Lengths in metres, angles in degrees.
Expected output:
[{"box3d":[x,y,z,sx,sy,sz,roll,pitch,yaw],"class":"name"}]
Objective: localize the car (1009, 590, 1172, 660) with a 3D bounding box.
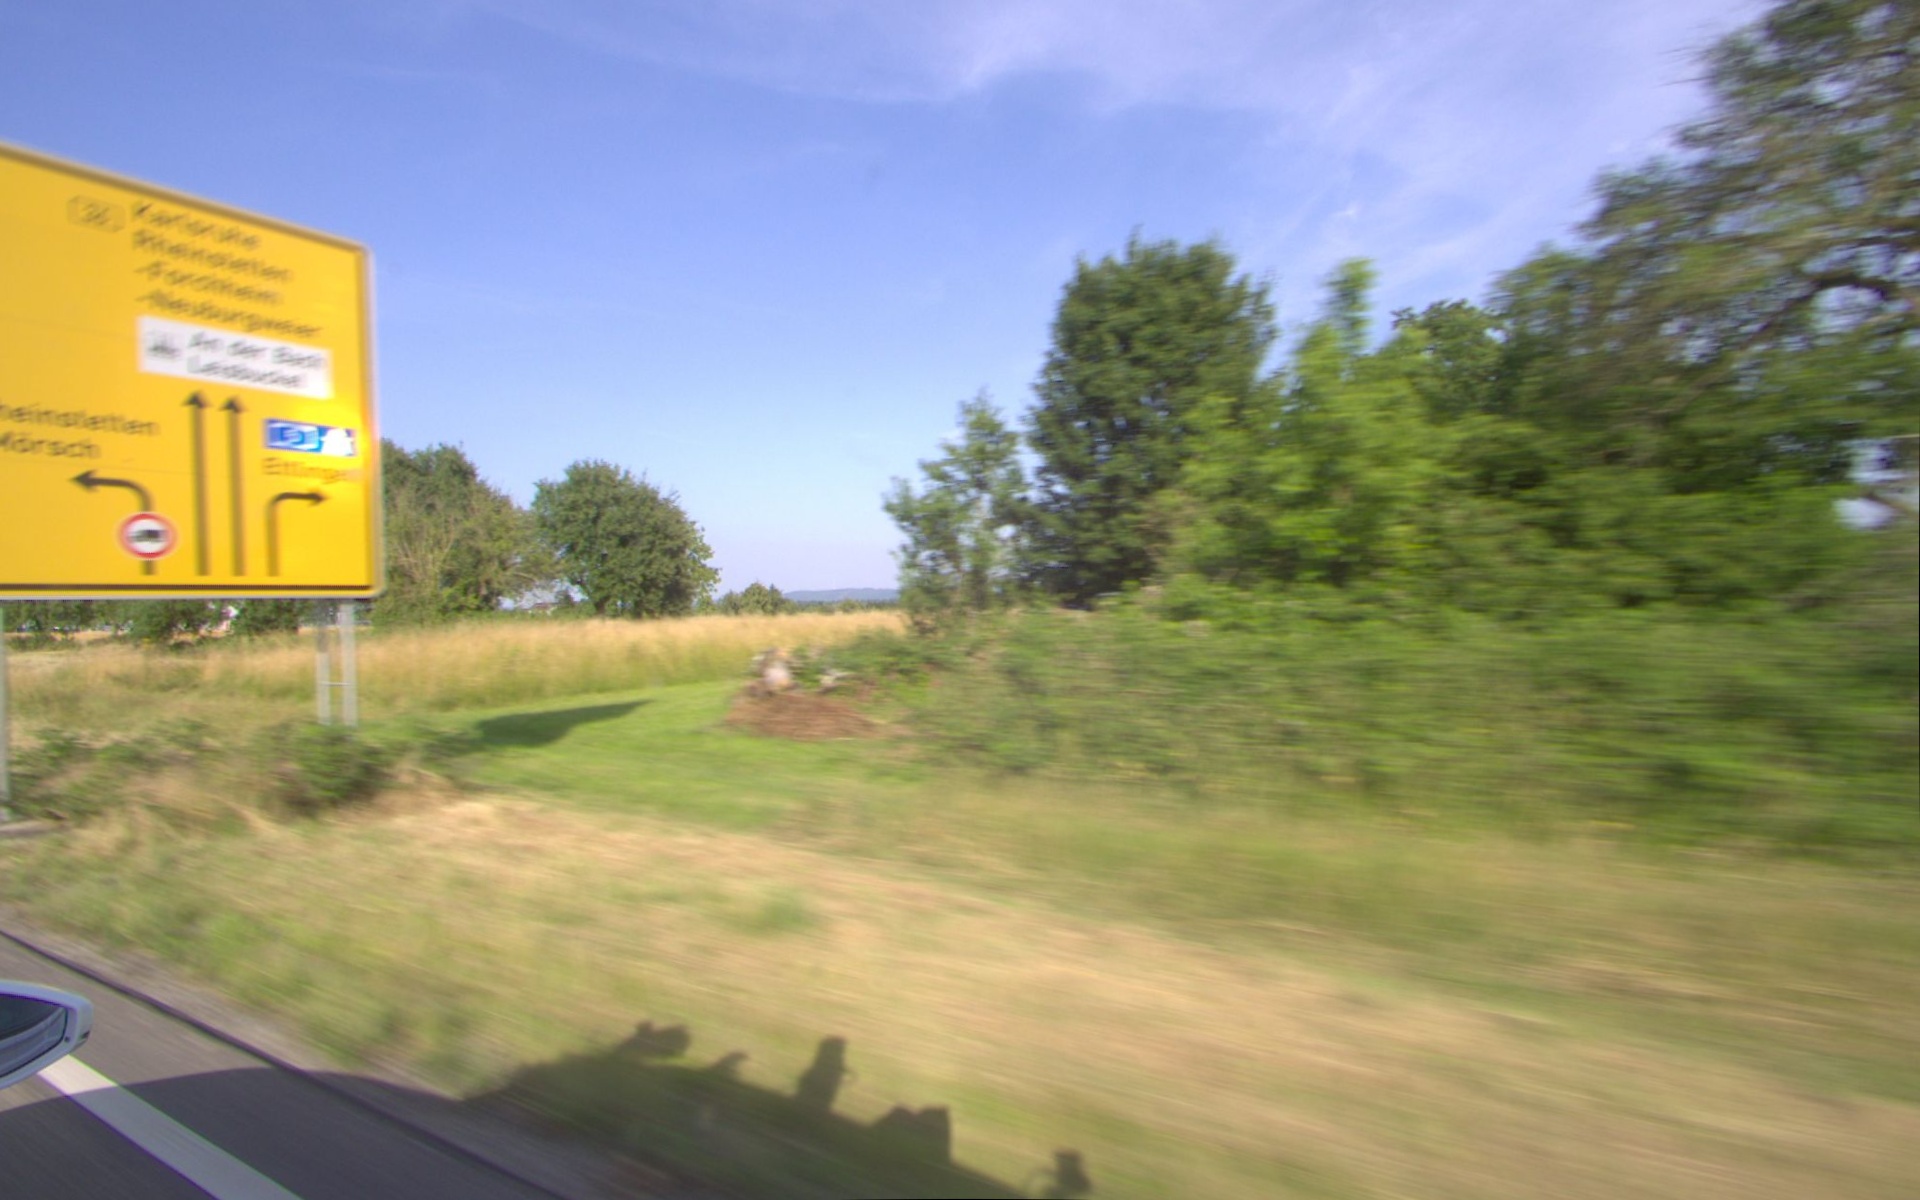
[{"box3d":[3.542,0.680,27.297,3.943,1.772,1.990,-1,-1,32],"class":"car"}]
